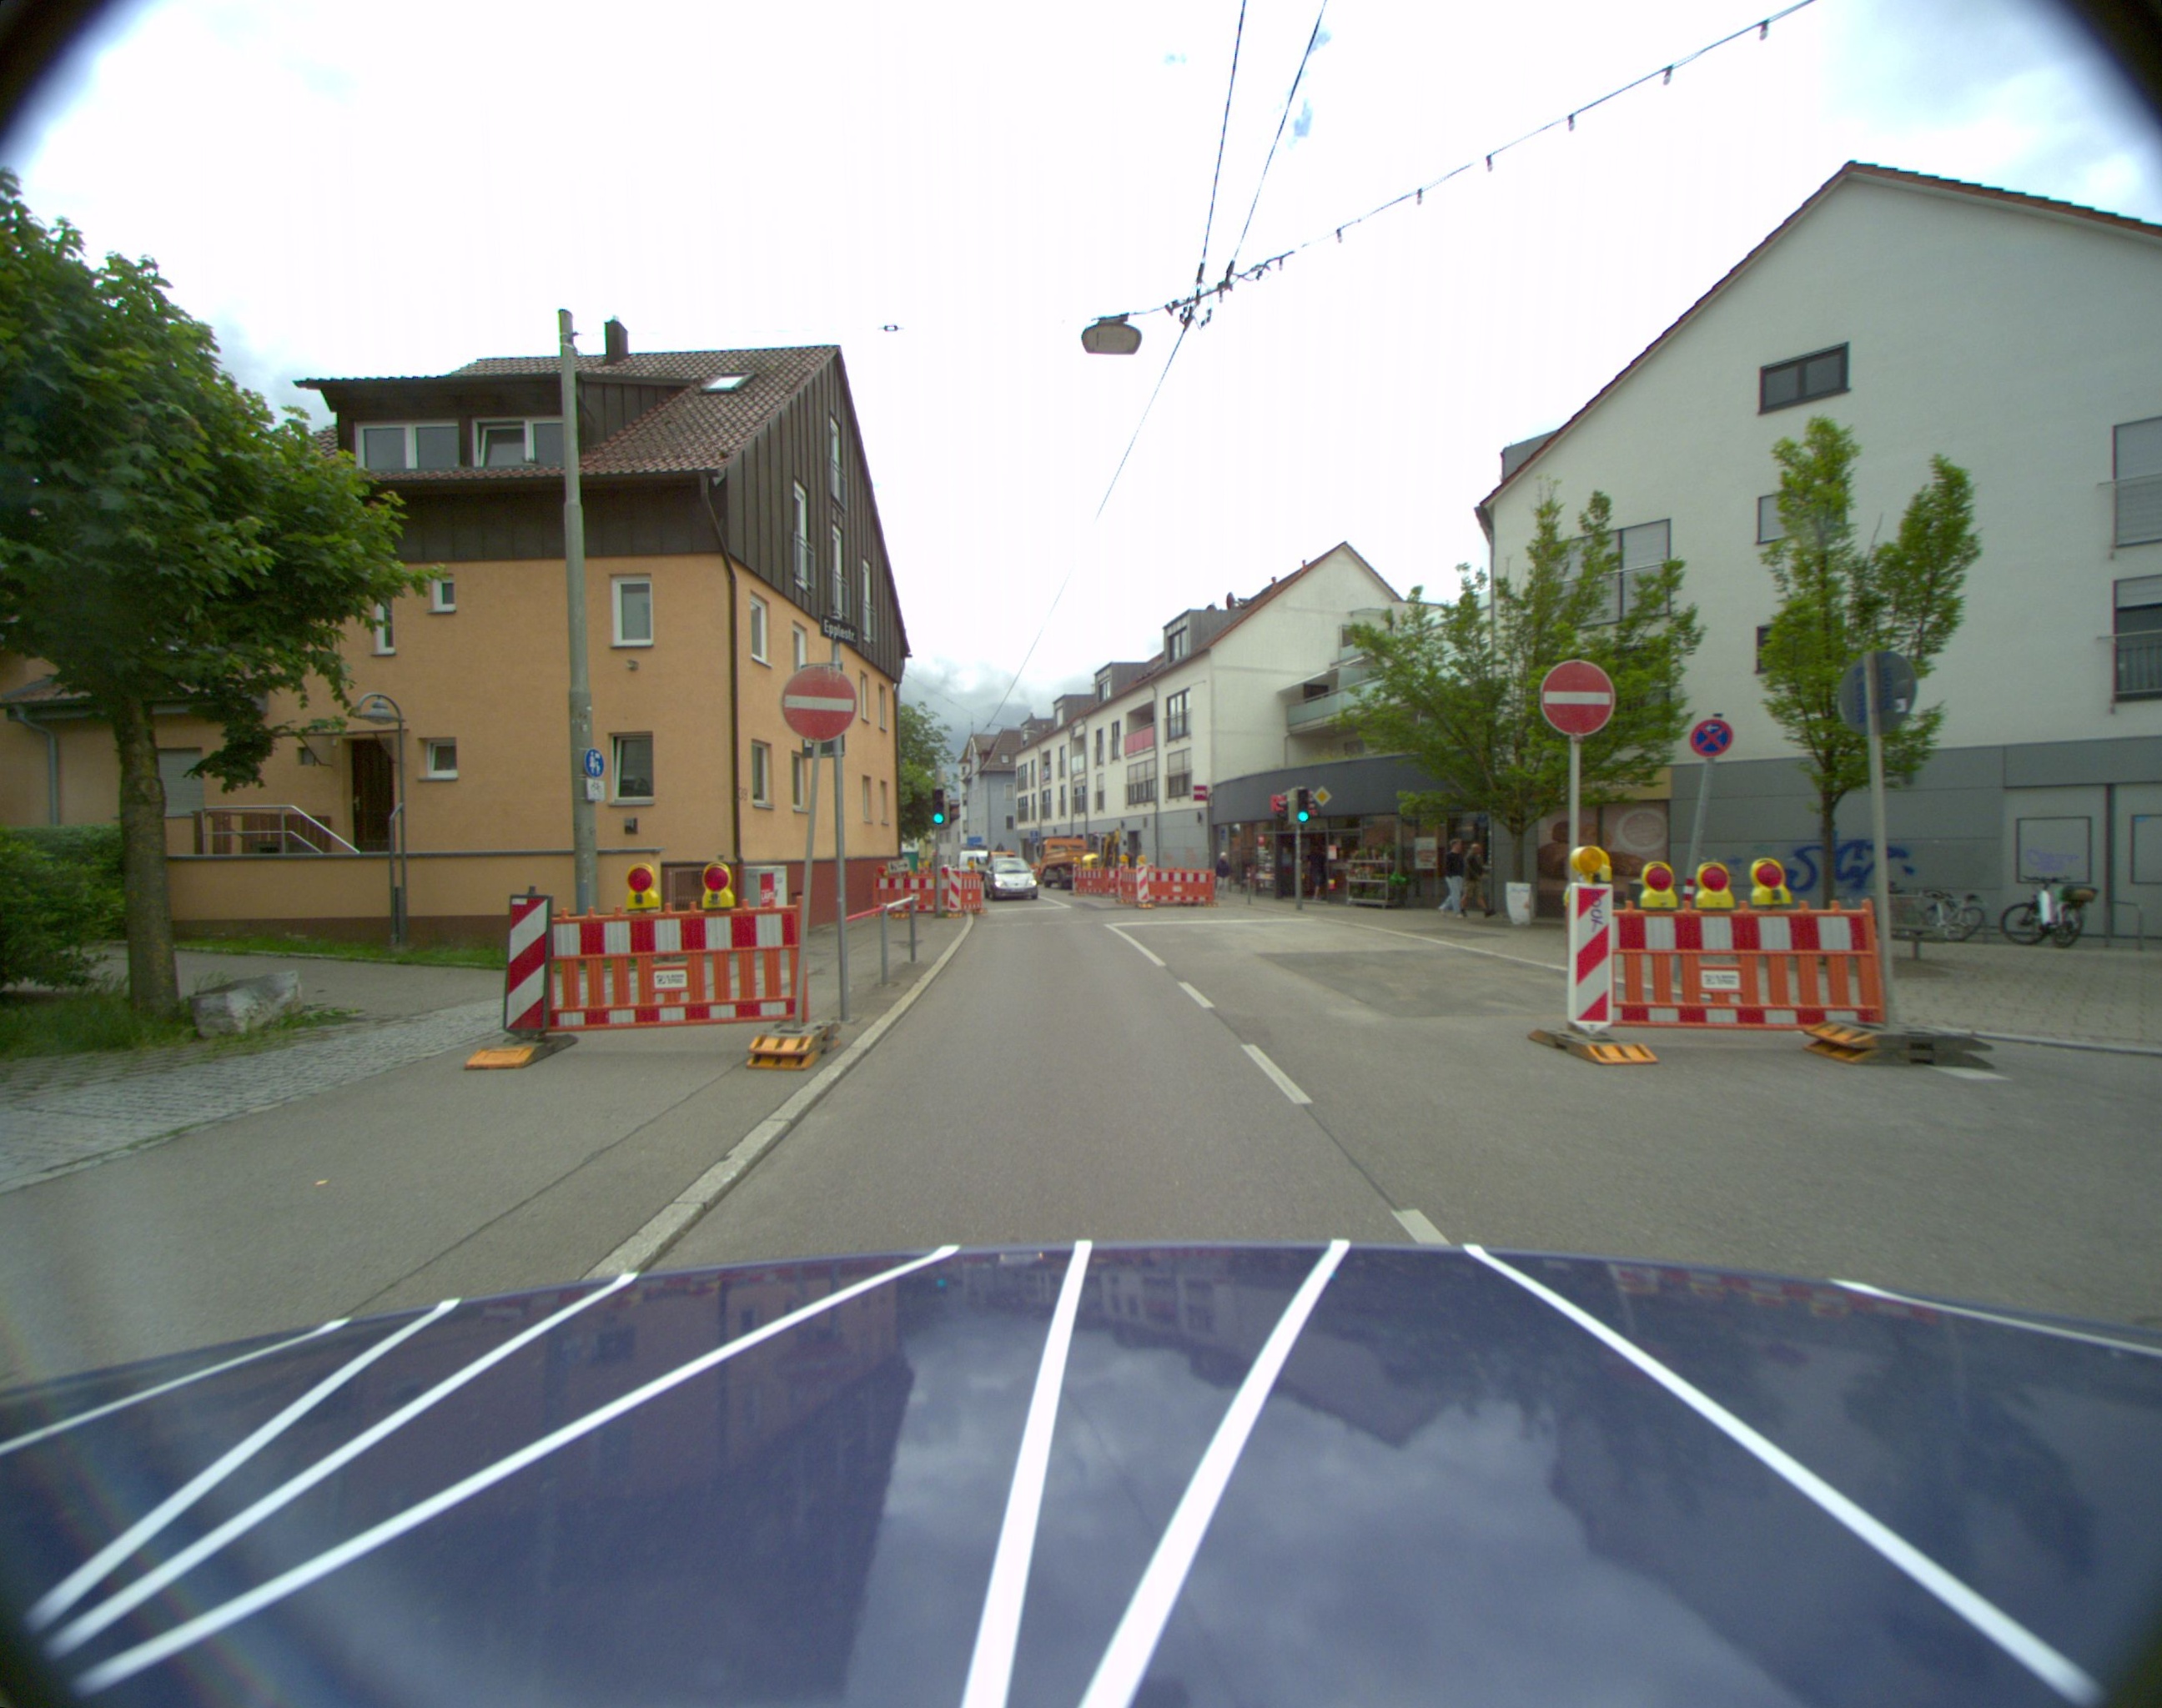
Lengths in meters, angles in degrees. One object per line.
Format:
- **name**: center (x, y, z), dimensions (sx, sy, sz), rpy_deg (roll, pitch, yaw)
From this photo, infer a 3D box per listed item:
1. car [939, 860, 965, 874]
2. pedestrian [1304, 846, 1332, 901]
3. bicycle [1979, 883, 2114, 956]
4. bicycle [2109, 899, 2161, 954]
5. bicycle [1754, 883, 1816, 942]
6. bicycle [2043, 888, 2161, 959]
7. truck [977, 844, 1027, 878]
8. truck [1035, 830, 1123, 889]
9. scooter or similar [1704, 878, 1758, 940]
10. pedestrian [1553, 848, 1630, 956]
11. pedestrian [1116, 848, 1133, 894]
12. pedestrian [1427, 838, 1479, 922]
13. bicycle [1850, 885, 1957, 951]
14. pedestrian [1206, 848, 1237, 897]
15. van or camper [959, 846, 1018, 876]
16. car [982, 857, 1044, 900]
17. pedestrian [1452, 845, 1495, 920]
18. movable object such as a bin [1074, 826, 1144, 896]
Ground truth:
- **car**: center (-13.202, 1.371, 77.733), dimensions (1.805, 1.403, 3.993), rpy_deg (0, -1, -22)
- **pedestrian**: center (8.103, 0.657, 25.963), dimensions (0.787, 1.833, 0.755), rpy_deg (-1, 0, 9)
- **bicycle**: center (15.886, 1.038, 12.570), dimensions (0.809, 1.068, 1.965), rpy_deg (0, -1, 34)
- **bicycle**: center (17.483, 1.158, 12.005), dimensions (0.627, 0.860, 2.079), rpy_deg (-1, -3, 29)
- **bicycle**: center (13.416, 1.105, 14.519), dimensions (0.530, 1.040, 1.749), rpy_deg (0, -3, 32)
- **bicycle**: center (16.729, 1.083, 12.266), dimensions (0.691, 1.054, 2.131), rpy_deg (-1, -2, 29)
- **truck**: center (-6.046, 0.574, 57.529), dimensions (2.423, 2.451, 6.298), rpy_deg (0, -1, -19)
- **truck**: center (-0.272, 0.300, 38.674), dimensions (2.742, 2.708, 6.839), rpy_deg (-1, -1, -15)
- **scooter or similar**: center (12.816, 1.054, 15.020), dimensions (0.596, 1.116, 1.536), rpy_deg (0, 0, 32)
- **pedestrian**: center (7.733, 0.701, 11.553), dimensions (0.682, 1.583, 0.880), rpy_deg (0, 1, 10)
- **pedestrian**: center (1.677, 0.656, 29.281), dimensions (0.539, 1.734, 0.443), rpy_deg (-1, 0, -11)
- **pedestrian**: center (8.751, 0.598, 17.874), dimensions (0.818, 1.914, 0.782), rpy_deg (-1, 1, -37)
- **bicycle**: center (14.519, 1.092, 13.485), dimensions (0.749, 1.040, 2.156), rpy_deg (0, -1, 32)
- **pedestrian**: center (4.980, 0.655, 26.945), dimensions (0.835, 1.702, 0.815), rpy_deg (-1, 0, -9)
- **van or camper**: center (-8.439, 0.628, 68.905), dimensions (2.331, 2.591, 6.191), rpy_deg (0, -1, -39)
- **car**: center (-2.756, 0.937, 29.825), dimensions (1.860, 1.547, 4.348), rpy_deg (0, -1, -13)
- **pedestrian**: center (9.589, 0.678, 18.558), dimensions (0.695, 1.780, 0.716), rpy_deg (-1, 1, -41)
- **movable object such as a bin**: center (1.120, 0.241, 32.469), dimensions (1.846, 2.748, 4.499), rpy_deg (-1, 1, -13)
